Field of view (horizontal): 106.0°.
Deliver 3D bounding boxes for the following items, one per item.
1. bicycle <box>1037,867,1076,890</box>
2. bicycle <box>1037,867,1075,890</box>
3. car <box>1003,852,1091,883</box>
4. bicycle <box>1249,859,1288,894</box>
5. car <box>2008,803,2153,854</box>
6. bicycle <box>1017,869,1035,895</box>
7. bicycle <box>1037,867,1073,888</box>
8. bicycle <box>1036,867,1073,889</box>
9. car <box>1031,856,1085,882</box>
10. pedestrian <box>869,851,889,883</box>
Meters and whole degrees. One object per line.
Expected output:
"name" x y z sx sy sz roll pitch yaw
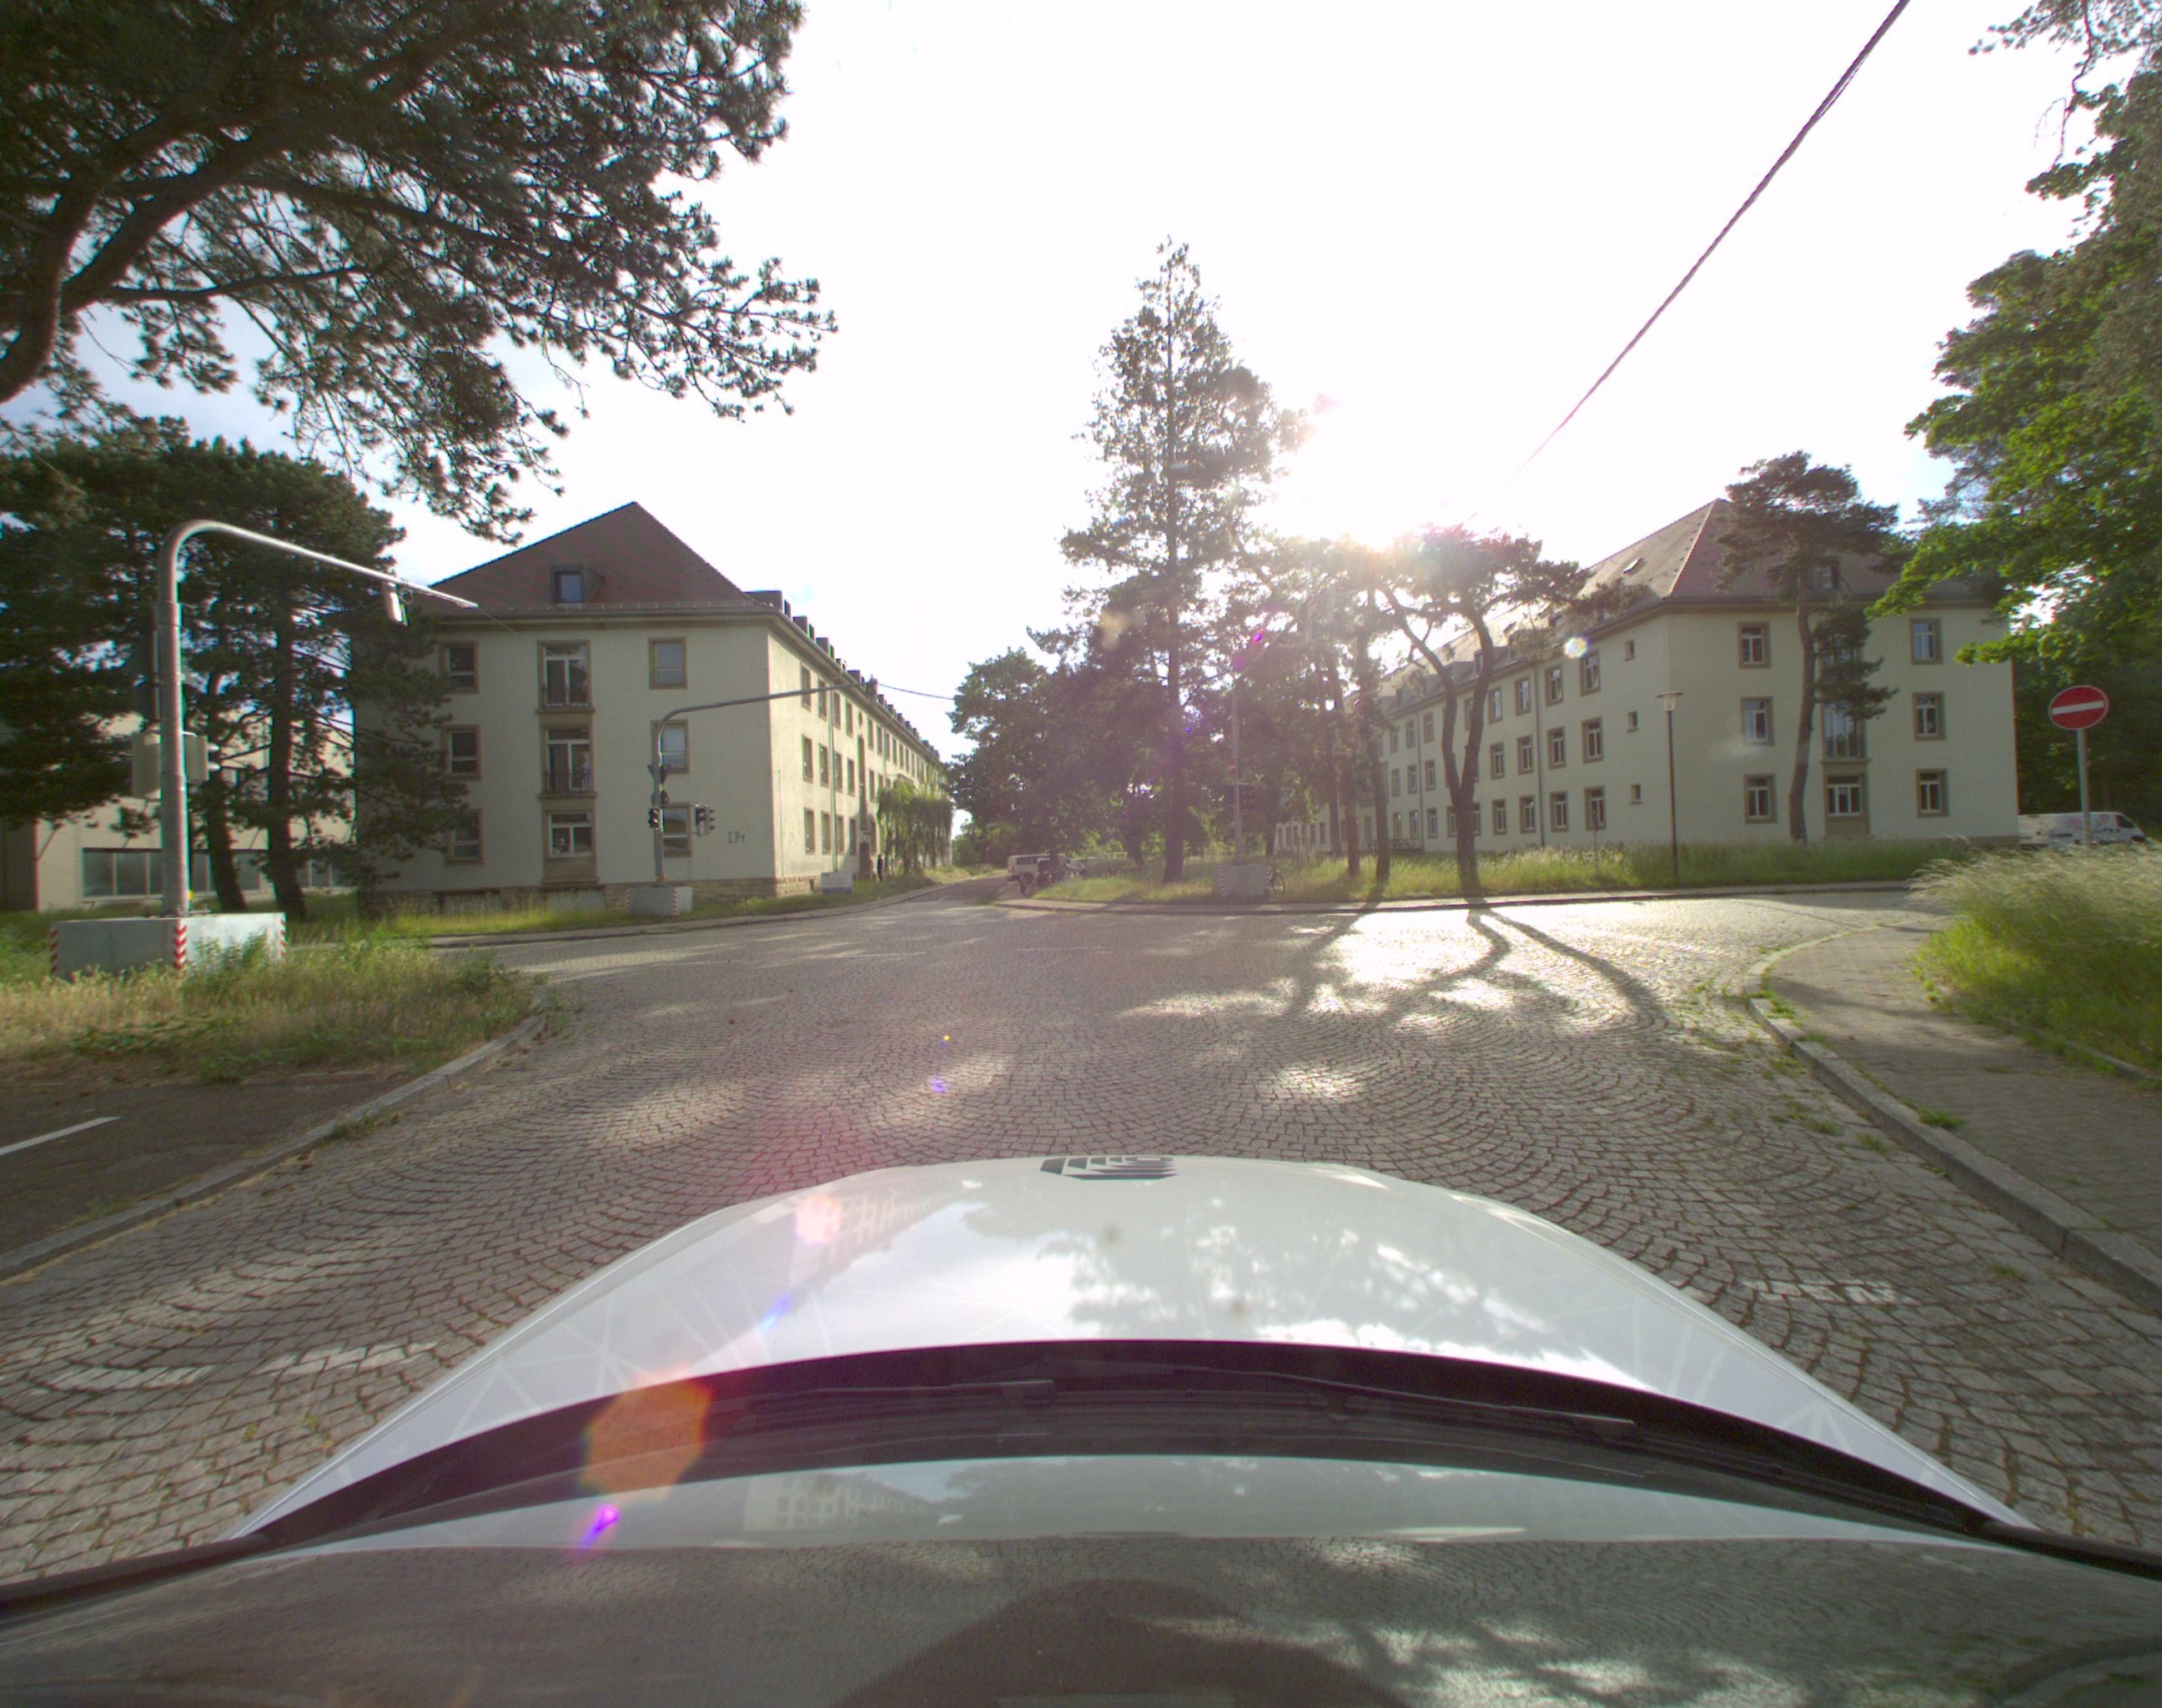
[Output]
"bicycle" -1.161 1.153 38.491 1.789 0.999 0.643 -2 0 -5
"bicycle" -1.214 1.170 39.508 1.789 0.999 0.643 -2 0 -5
"car" -2.282 0.895 54.372 5.514 1.916 2.241 -2 -1 -17
"bicycle" 5.687 0.659 24.744 0.562 0.999 1.748 -2 1 -7
"car" 53.884 -1.346 43.969 5.145 2.536 2.262 -2 -1 -2
"bicycle" -2.346 1.177 34.822 0.726 0.999 1.797 -2 1 -3
"bicycle" -1.355 1.202 41.741 1.789 0.999 0.643 -2 0 -5
"bicycle" -1.324 1.192 41.003 1.789 0.999 0.643 -2 0 -5
"car" -1.433 0.948 50.856 3.038 1.465 1.710 -2 -2 -16
"pedestrian" -12.450 0.796 50.146 0.983 1.963 0.931 -2 -1 -4
